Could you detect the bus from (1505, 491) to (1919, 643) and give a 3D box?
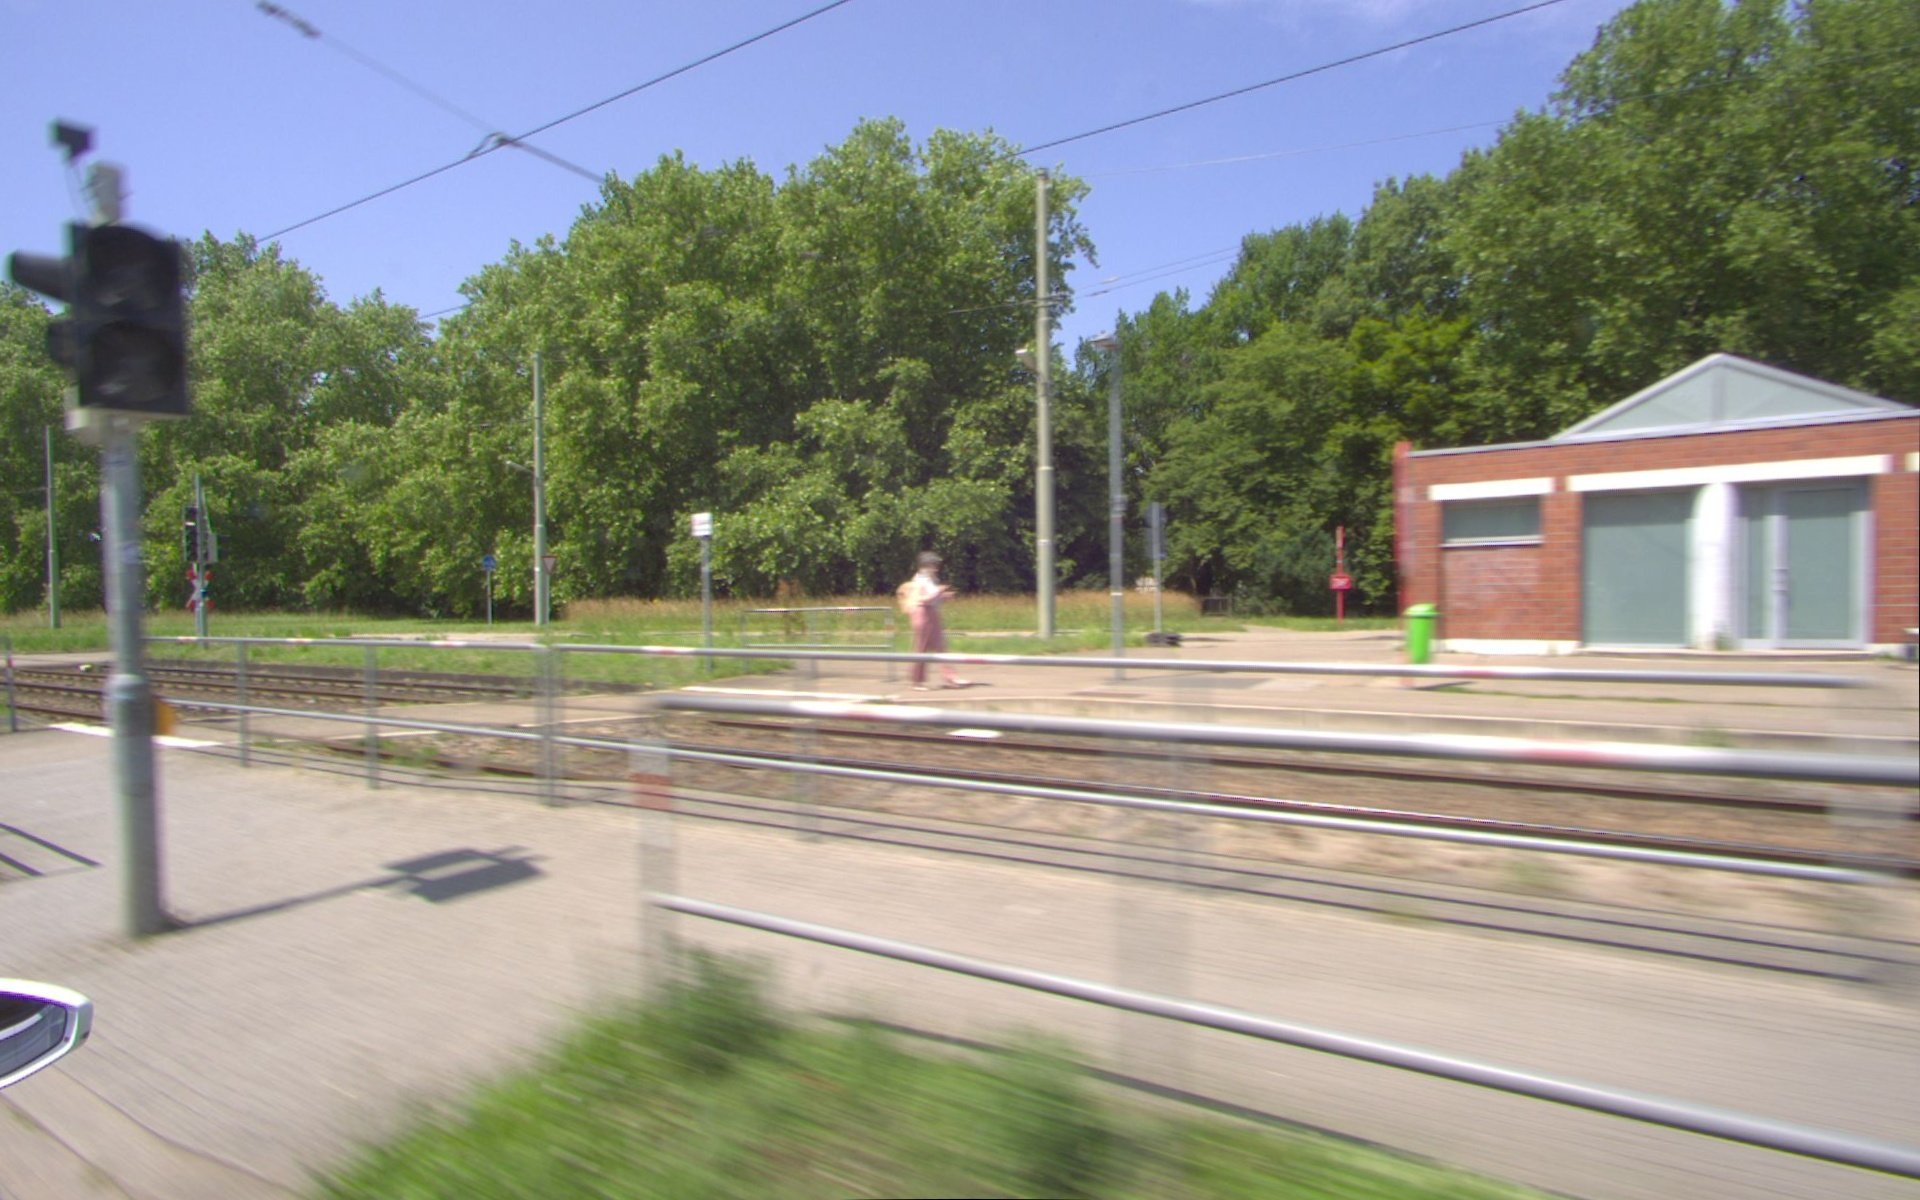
[{"bbox_3d":[20.815,-0.732,25.107,12.214,3.483,2.766,-1,-1,14],"label":"bus"}]

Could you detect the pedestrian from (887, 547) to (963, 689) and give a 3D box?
[{"bbox_3d":[-0.450,0.238,13.034,0.802,1.782,0.635,-1,-1,20],"label":"pedestrian"}]
